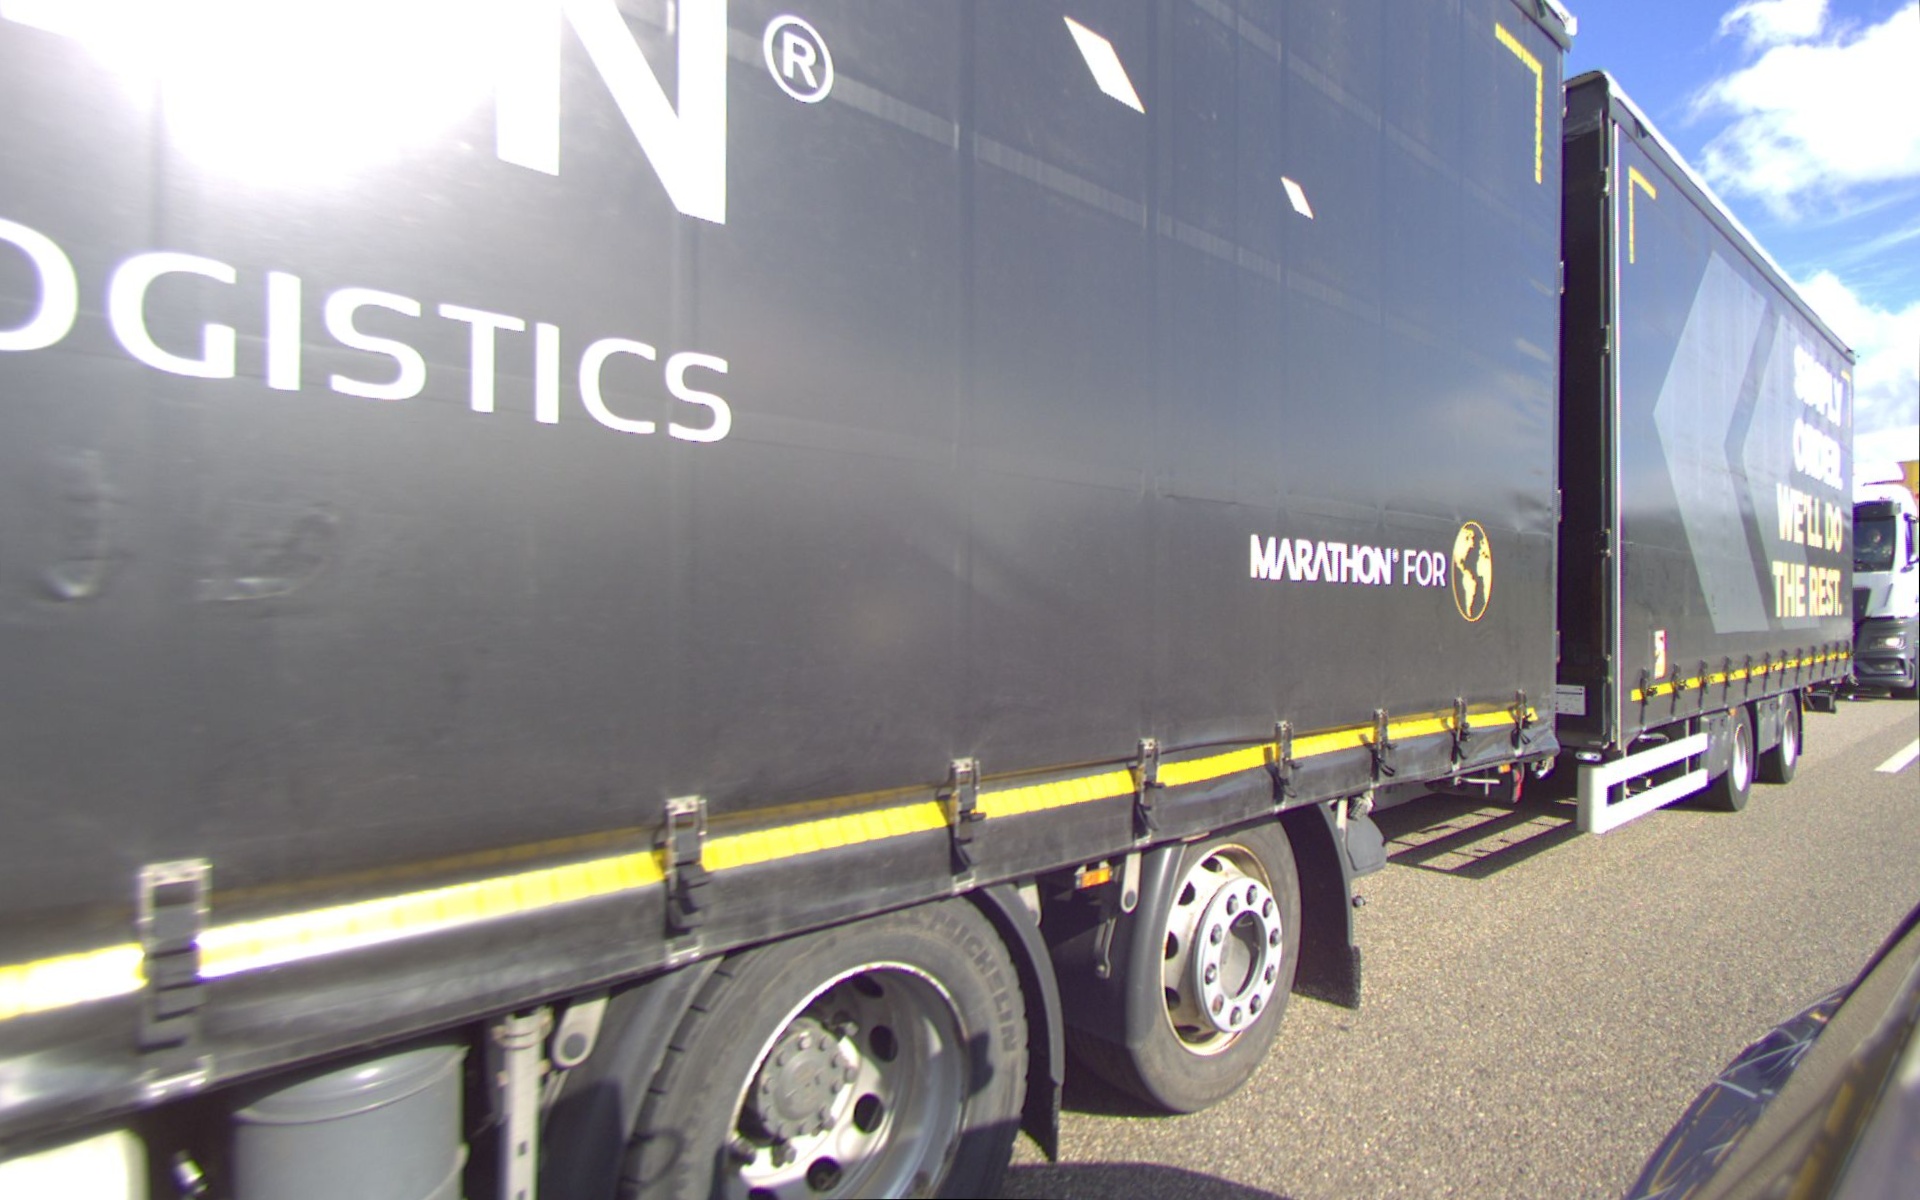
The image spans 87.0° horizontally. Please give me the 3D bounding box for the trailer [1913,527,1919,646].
[{"bbox_3d":[39.644,-0.523,38.840,13.729,4.150,2.647,0,-1,-39],"label":"trailer"}]

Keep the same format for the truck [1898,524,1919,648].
[{"bbox_3d":[34.845,-0.488,34.916,6.374,4.142,2.654,0,-1,-39],"label":"truck"}]

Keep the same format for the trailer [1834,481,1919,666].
[{"bbox_3d":[24.542,-0.570,25.598,8.771,4.121,2.415,0,-2,-41],"label":"trailer"}]

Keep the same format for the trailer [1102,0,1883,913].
[{"bbox_3d":[4.993,-0.621,8.205,8.559,4.012,2.719,1,-2,-42],"label":"trailer"}]

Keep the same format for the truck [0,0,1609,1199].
[{"bbox_3d":[-1.903,-0.664,1.947,10.028,4.090,2.744,0,-1,-42],"label":"truck"}]

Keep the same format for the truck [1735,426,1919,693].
[{"bbox_3d":[17.681,-0.593,19.562,9.496,4.121,2.415,0,-2,-41],"label":"truck"}]
